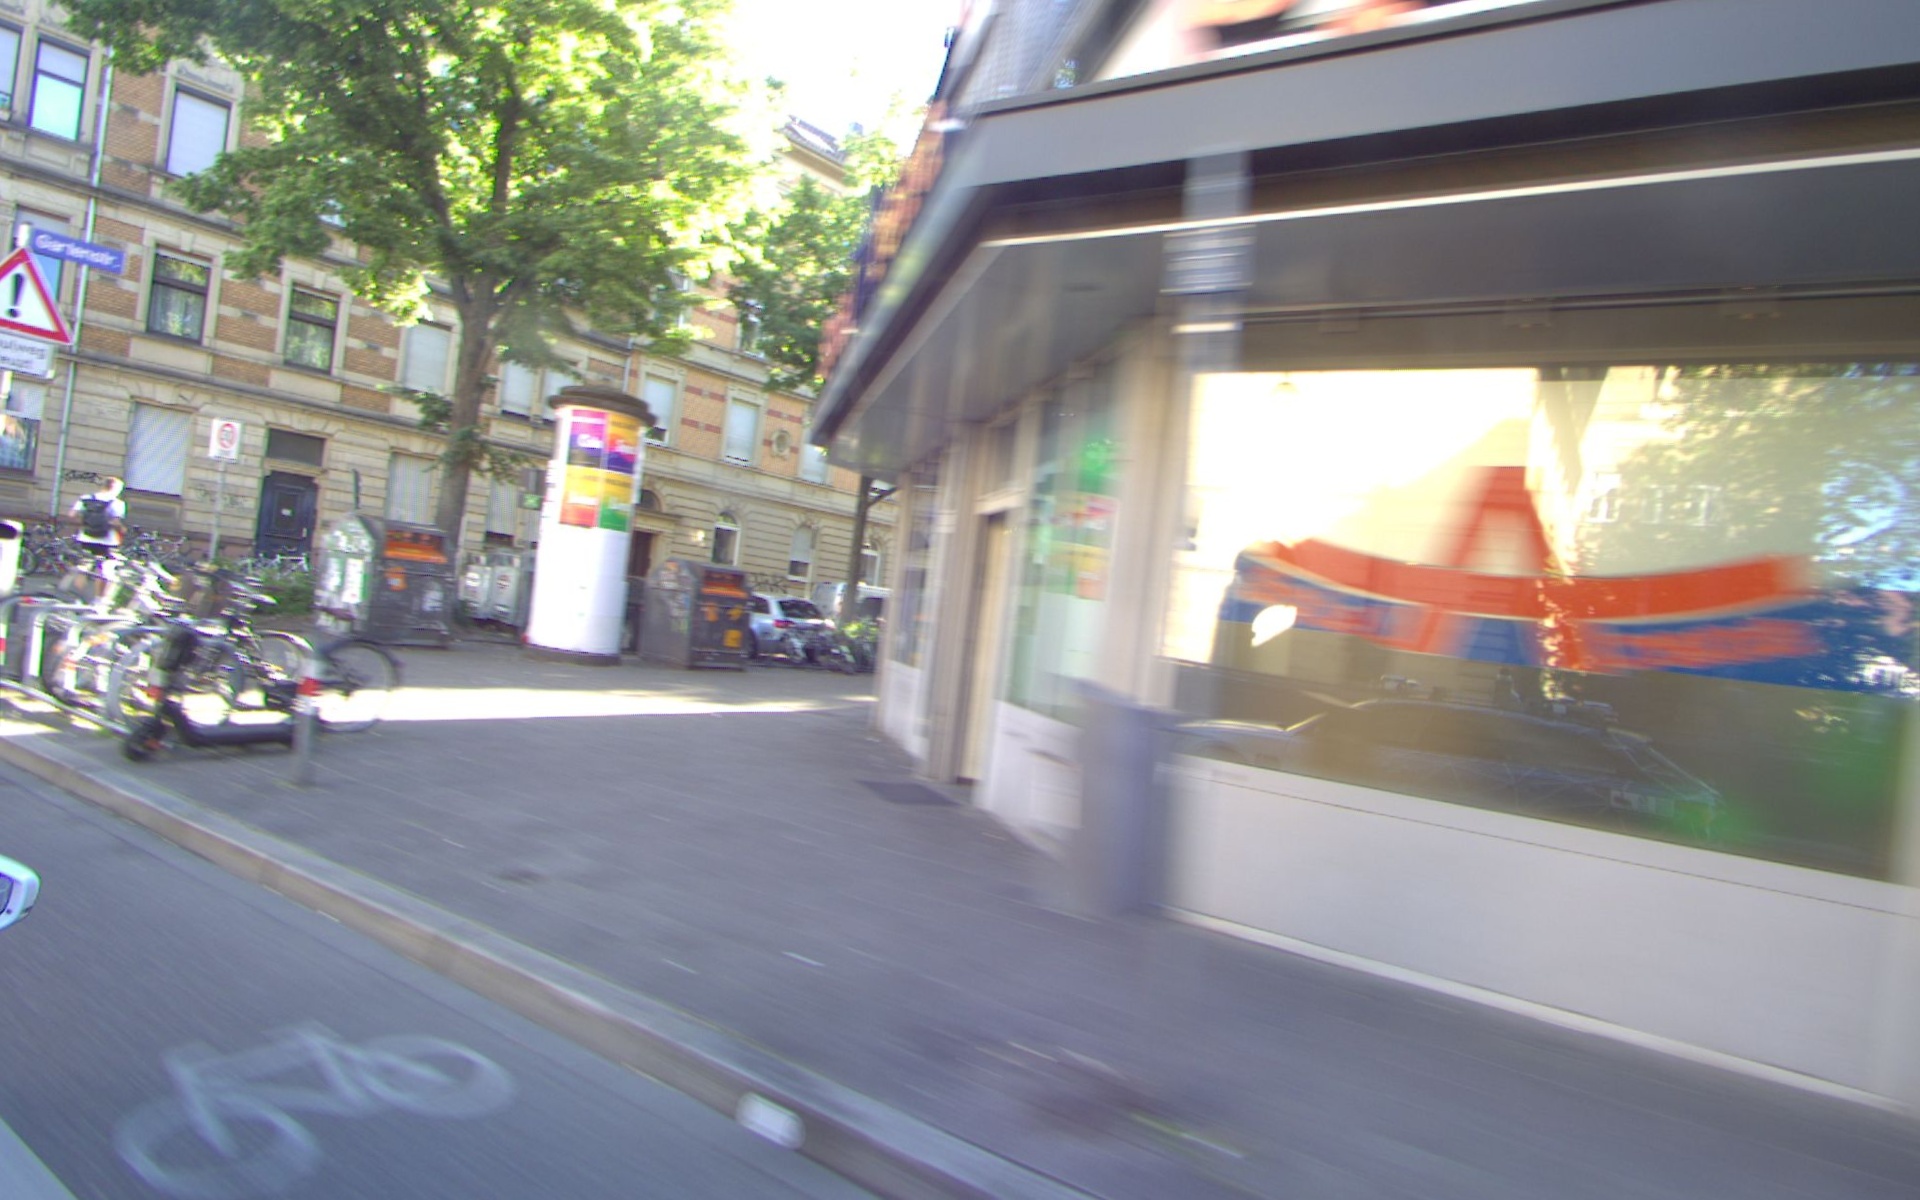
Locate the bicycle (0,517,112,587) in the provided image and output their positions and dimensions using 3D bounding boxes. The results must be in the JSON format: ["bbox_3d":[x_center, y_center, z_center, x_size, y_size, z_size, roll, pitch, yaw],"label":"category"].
[{"bbox_3d":[-18.005,-0.948,19.923,1.784,1.128,0.443,7,0,-10],"label":"bicycle"}]

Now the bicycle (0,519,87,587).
[{"bbox_3d":[-18.082,-0.932,19.418,1.784,1.128,0.443,7,0,-10],"label":"bicycle"}]

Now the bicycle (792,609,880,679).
[{"bbox_3d":[-2.489,0.846,19.968,0.649,1.152,1.979,7,-1,-40],"label":"bicycle"}]

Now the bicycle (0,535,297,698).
[{"bbox_3d":[-6.469,0.173,7.938,0.554,1.120,1.949,7,-1,29],"label":"bicycle"}]

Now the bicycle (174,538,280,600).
[{"bbox_3d":[-16.234,-0.684,22.294,1.784,1.128,0.443,7,0,-10],"label":"bicycle"}]

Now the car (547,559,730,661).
[{"bbox_3d":[-6.713,0.168,20.779,1.988,1.621,3.952,8,-2,-43],"label":"car"}]

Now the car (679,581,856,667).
[{"bbox_3d":[-4.369,0.508,22.471,1.988,1.413,3.952,8,-1,-43],"label":"car"}]

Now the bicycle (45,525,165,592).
[{"bbox_3d":[-17.425,-0.833,20.532,1.784,1.128,0.443,7,0,-10],"label":"bicycle"}]

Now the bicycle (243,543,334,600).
[{"bbox_3d":[-16.154,-0.680,24.217,1.781,1.128,0.444,7,0,-1],"label":"bicycle"}]

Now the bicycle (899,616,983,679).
[{"bbox_3d":[-0.419,1.021,21.835,1.669,1.152,0.675,6,-1,38],"label":"bicycle"}]

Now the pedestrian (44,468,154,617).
[{"bbox_3d":[-12.541,-0.827,14.659,0.926,2.007,0.718,7,-1,27],"label":"pedestrian"}]

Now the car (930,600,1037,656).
[{"bbox_3d":[0.957,1.095,39.064,1.808,1.721,3.988,4,-3,45],"label":"car"}]

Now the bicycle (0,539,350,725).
[{"bbox_3d":[-5.821,0.274,7.576,0.617,1.180,1.949,7,-1,29],"label":"bicycle"}]

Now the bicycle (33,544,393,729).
[{"bbox_3d":[-5.260,0.298,7.259,0.554,1.120,1.949,7,-1,29],"label":"bicycle"}]

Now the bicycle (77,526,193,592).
[{"bbox_3d":[-17.261,-0.847,21.077,1.784,1.128,0.443,7,0,-10],"label":"bicycle"}]

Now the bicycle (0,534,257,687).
[{"bbox_3d":[-7.026,0.113,8.241,0.554,1.120,1.949,7,-1,29],"label":"bicycle"}]

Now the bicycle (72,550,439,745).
[{"bbox_3d":[-4.740,0.350,6.957,0.554,1.120,1.949,7,-1,29],"label":"bicycle"}]

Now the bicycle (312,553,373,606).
[{"bbox_3d":[-15.388,-0.525,25.038,1.785,1.128,0.443,7,0,32],"label":"bicycle"}]

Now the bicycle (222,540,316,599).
[{"bbox_3d":[-16.258,-0.708,23.681,1.781,1.128,0.444,7,0,-1],"label":"bicycle"}]

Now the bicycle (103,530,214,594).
[{"bbox_3d":[-17.205,-0.806,21.618,1.784,1.128,0.443,7,0,-10],"label":"bicycle"}]

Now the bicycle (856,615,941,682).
[{"bbox_3d":[-1.278,0.990,20.609,0.697,1.152,1.674,7,-1,-44],"label":"bicycle"}]

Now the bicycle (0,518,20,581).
[{"bbox_3d":[-18.438,-1.038,18.389,1.784,1.128,0.444,7,0,-9],"label":"bicycle"}]

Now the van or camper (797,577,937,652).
[{"bbox_3d":[-3.152,0.541,34.624,4.362,2.003,1.934,8,-1,-43],"label":"van or camper"}]

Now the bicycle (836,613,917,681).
[{"bbox_3d":[-1.689,0.923,20.156,0.594,1.152,1.674,7,-1,-43],"label":"bicycle"}]

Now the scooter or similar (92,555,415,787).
[{"bbox_3d":[-4.371,0.425,6.327,0.582,1.245,1.480,7,1,31],"label":"scooter or similar"}]

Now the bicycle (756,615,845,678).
[{"bbox_3d":[-3.087,0.878,19.312,0.649,0.958,1.979,7,-1,-40],"label":"bicycle"}]

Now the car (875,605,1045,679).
[{"bbox_3d":[-0.077,1.062,26.431,1.915,1.419,4.410,8,-2,-42],"label":"car"}]

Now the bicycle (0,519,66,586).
[{"bbox_3d":[-18.058,-0.955,18.944,1.784,1.128,0.444,7,0,-9],"label":"bicycle"}]

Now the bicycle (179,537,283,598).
[{"bbox_3d":[-16.450,-0.719,22.734,1.784,1.128,0.443,7,0,-10],"label":"bicycle"}]

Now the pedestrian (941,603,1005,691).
[{"bbox_3d":[0.254,0.924,19.653,0.820,1.592,0.686,7,0,36],"label":"pedestrian"}]
